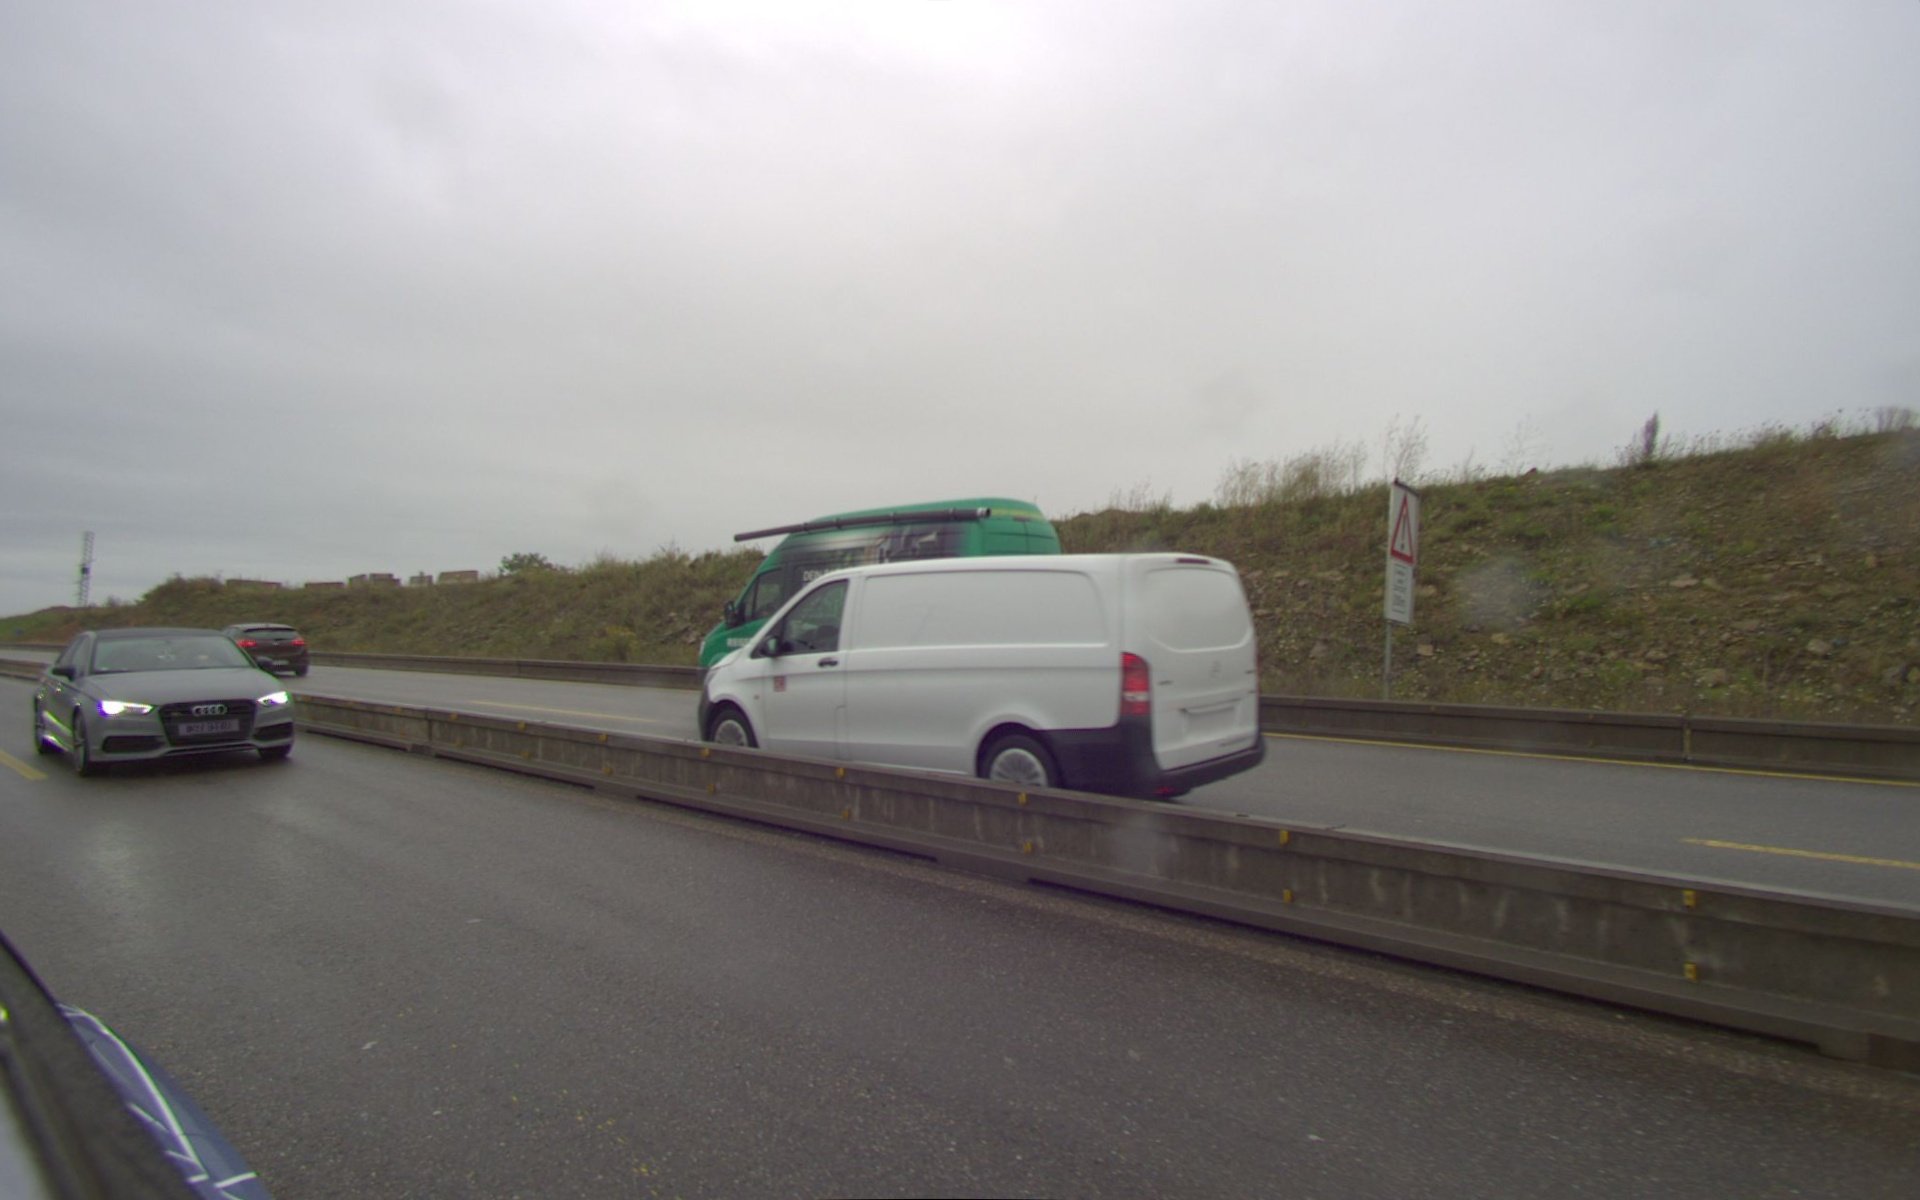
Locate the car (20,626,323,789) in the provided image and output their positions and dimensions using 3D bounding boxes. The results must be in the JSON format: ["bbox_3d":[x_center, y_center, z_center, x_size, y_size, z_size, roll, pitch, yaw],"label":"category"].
[{"bbox_3d":[-8.615,1.000,10.943,4.084,1.393,1.782,-1,-1,40],"label":"car"}]

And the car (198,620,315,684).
[{"bbox_3d":[-19.229,1.365,27.605,4.044,1.548,1.696,-1,0,41],"label":"car"}]

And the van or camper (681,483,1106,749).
[{"bbox_3d":[-1.145,0.207,13.571,5.941,2.839,2.078,-1,0,42],"label":"van or camper"}]

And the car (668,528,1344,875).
[{"bbox_3d":[0.034,0.584,8.046,5.271,1.901,1.980,-1,0,41],"label":"car"}]
